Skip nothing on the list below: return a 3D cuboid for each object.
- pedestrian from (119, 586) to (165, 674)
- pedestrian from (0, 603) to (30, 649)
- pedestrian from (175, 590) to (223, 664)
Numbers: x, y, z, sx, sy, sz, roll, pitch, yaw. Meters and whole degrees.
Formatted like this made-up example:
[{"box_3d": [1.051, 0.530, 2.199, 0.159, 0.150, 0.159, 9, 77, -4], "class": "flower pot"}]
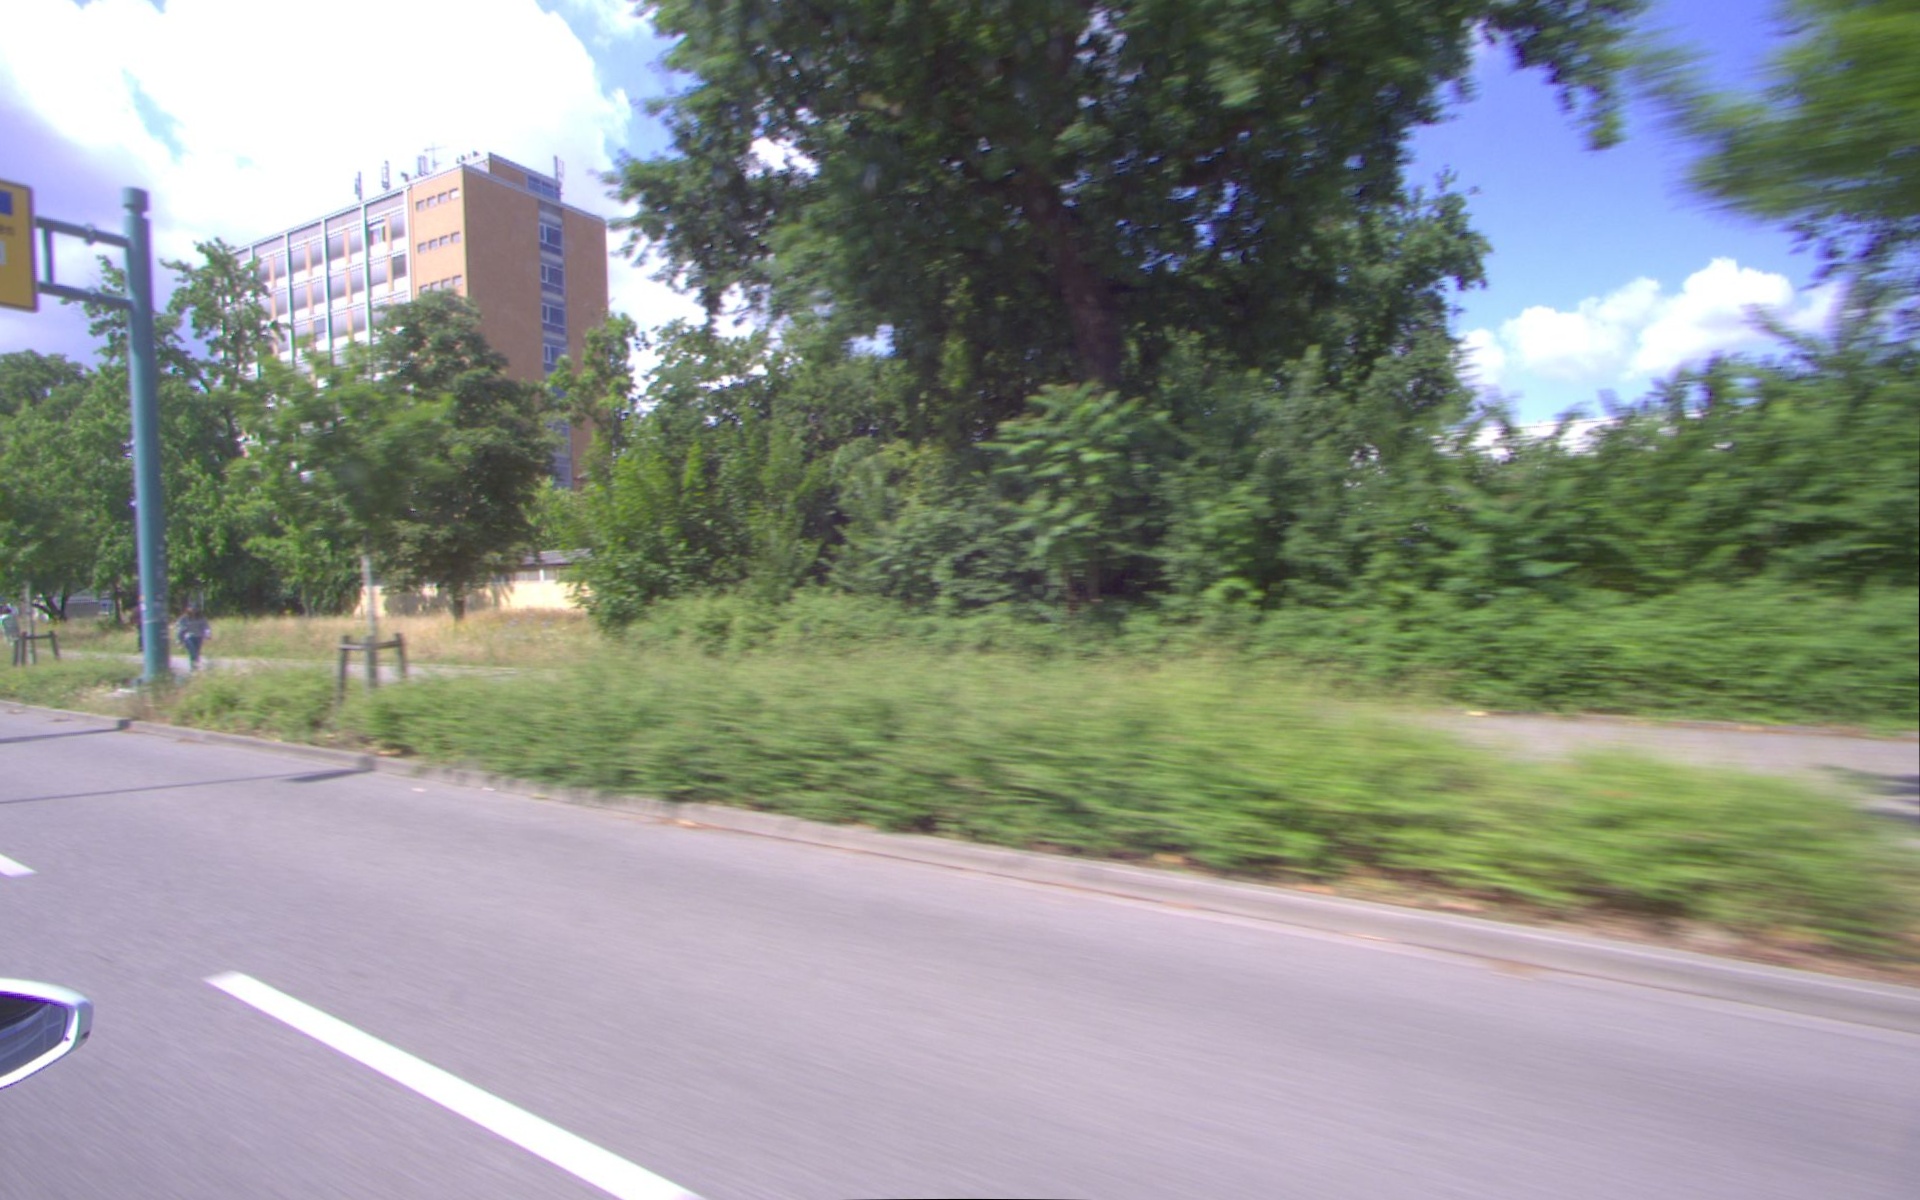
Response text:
[{"box_3d": [-17.378, 0.631, 21.288, 0.630, 1.826, 0.565, 0, 2, 35], "class": "pedestrian"}, {"box_3d": [-35.400, 0.955, 37.372, 0.711, 1.660, 0.865, 0, 1, 36], "class": "pedestrian"}, {"box_3d": [-16.857, 0.585, 22.175, 0.699, 1.602, 0.621, 0, 2, 35], "class": "pedestrian"}]
